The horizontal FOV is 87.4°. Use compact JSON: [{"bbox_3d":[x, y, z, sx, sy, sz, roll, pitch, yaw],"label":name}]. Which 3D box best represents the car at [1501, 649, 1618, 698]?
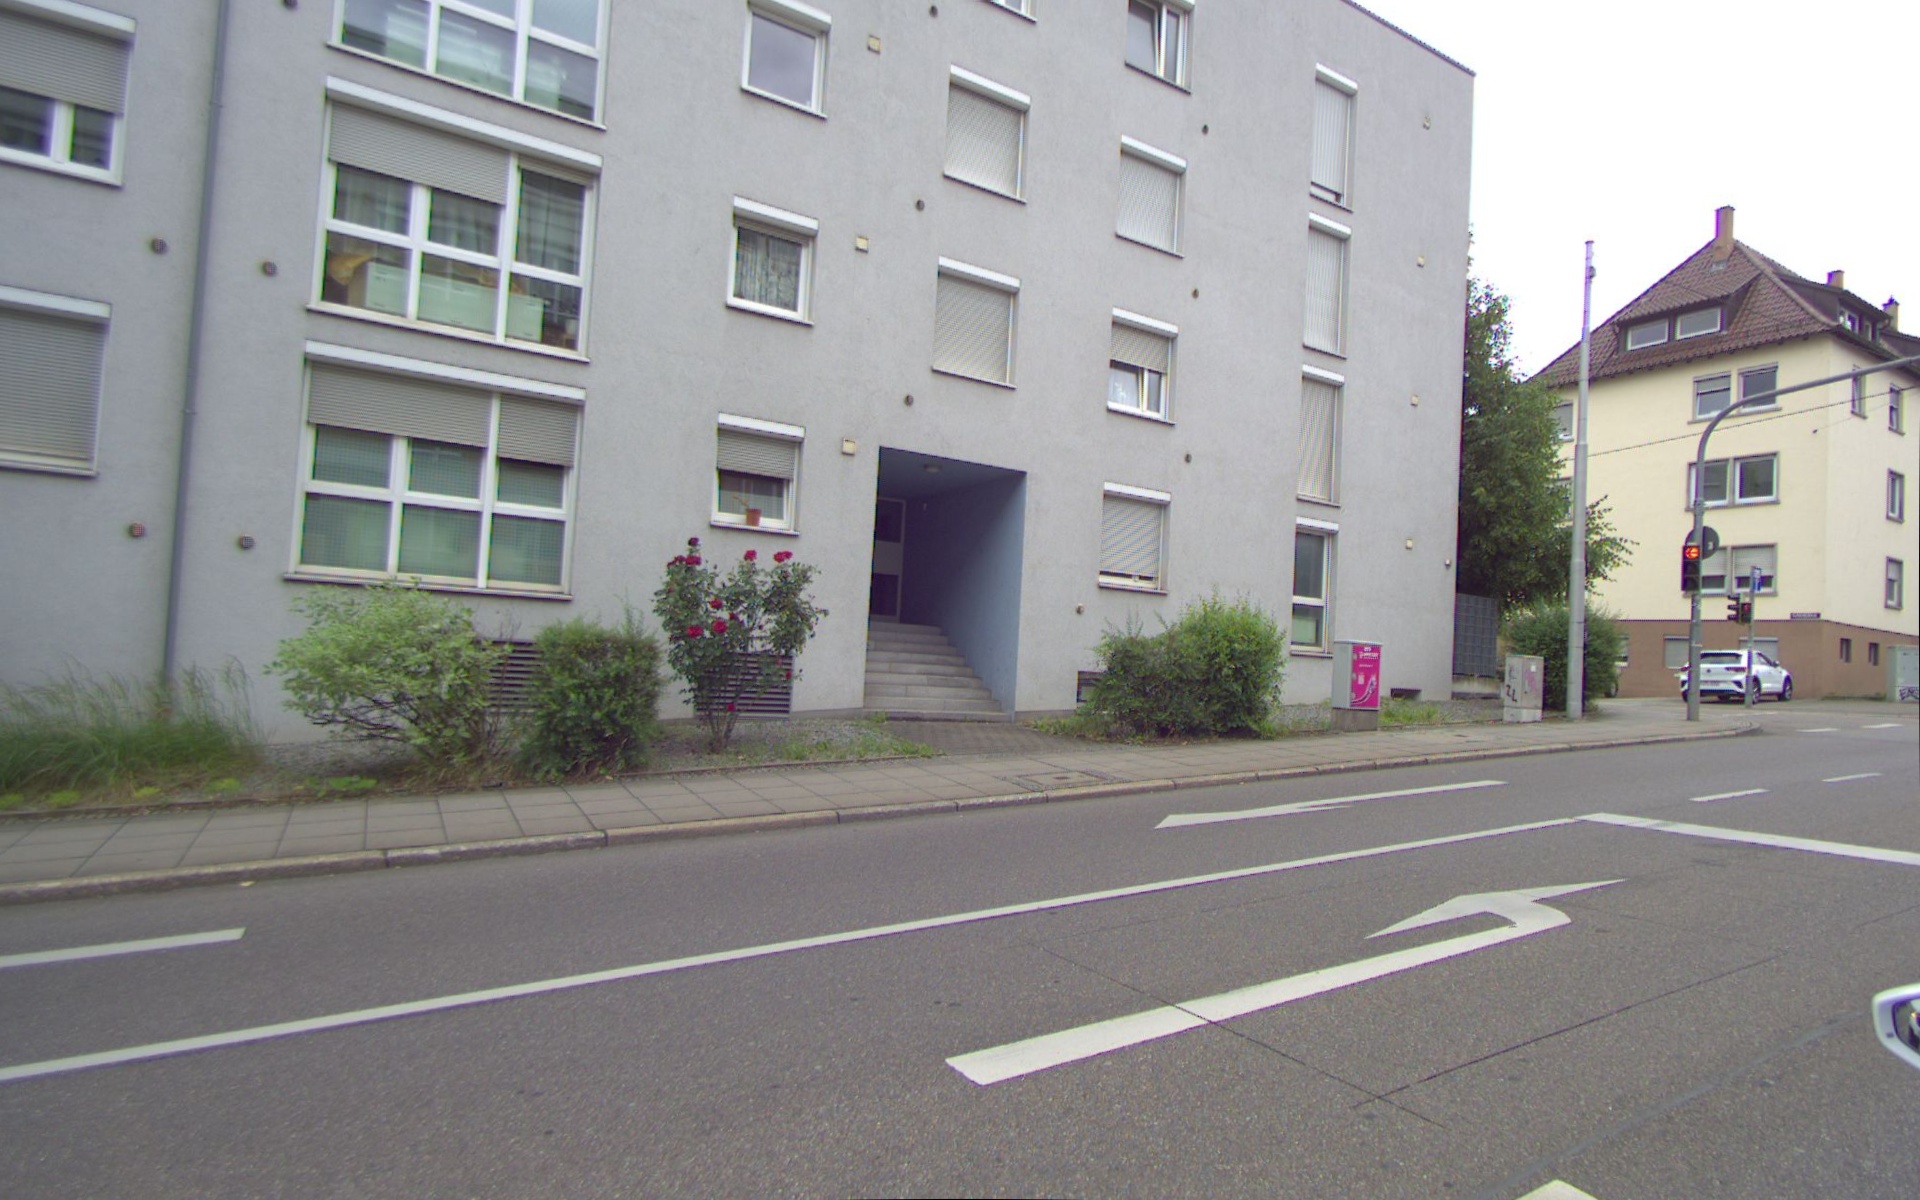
[{"bbox_3d":[20.584,2.505,34.449,4.053,1.566,1.662,2,-4,-30],"label":"car"}]

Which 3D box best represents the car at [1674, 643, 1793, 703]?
[{"bbox_3d":[23.222,2.158,30.122,3.960,1.683,1.660,2,-4,-35],"label":"car"}]

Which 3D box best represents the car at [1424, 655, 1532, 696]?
[{"bbox_3d":[18.955,2.728,36.696,3.953,1.380,1.662,2,-1,-30],"label":"car"}]
